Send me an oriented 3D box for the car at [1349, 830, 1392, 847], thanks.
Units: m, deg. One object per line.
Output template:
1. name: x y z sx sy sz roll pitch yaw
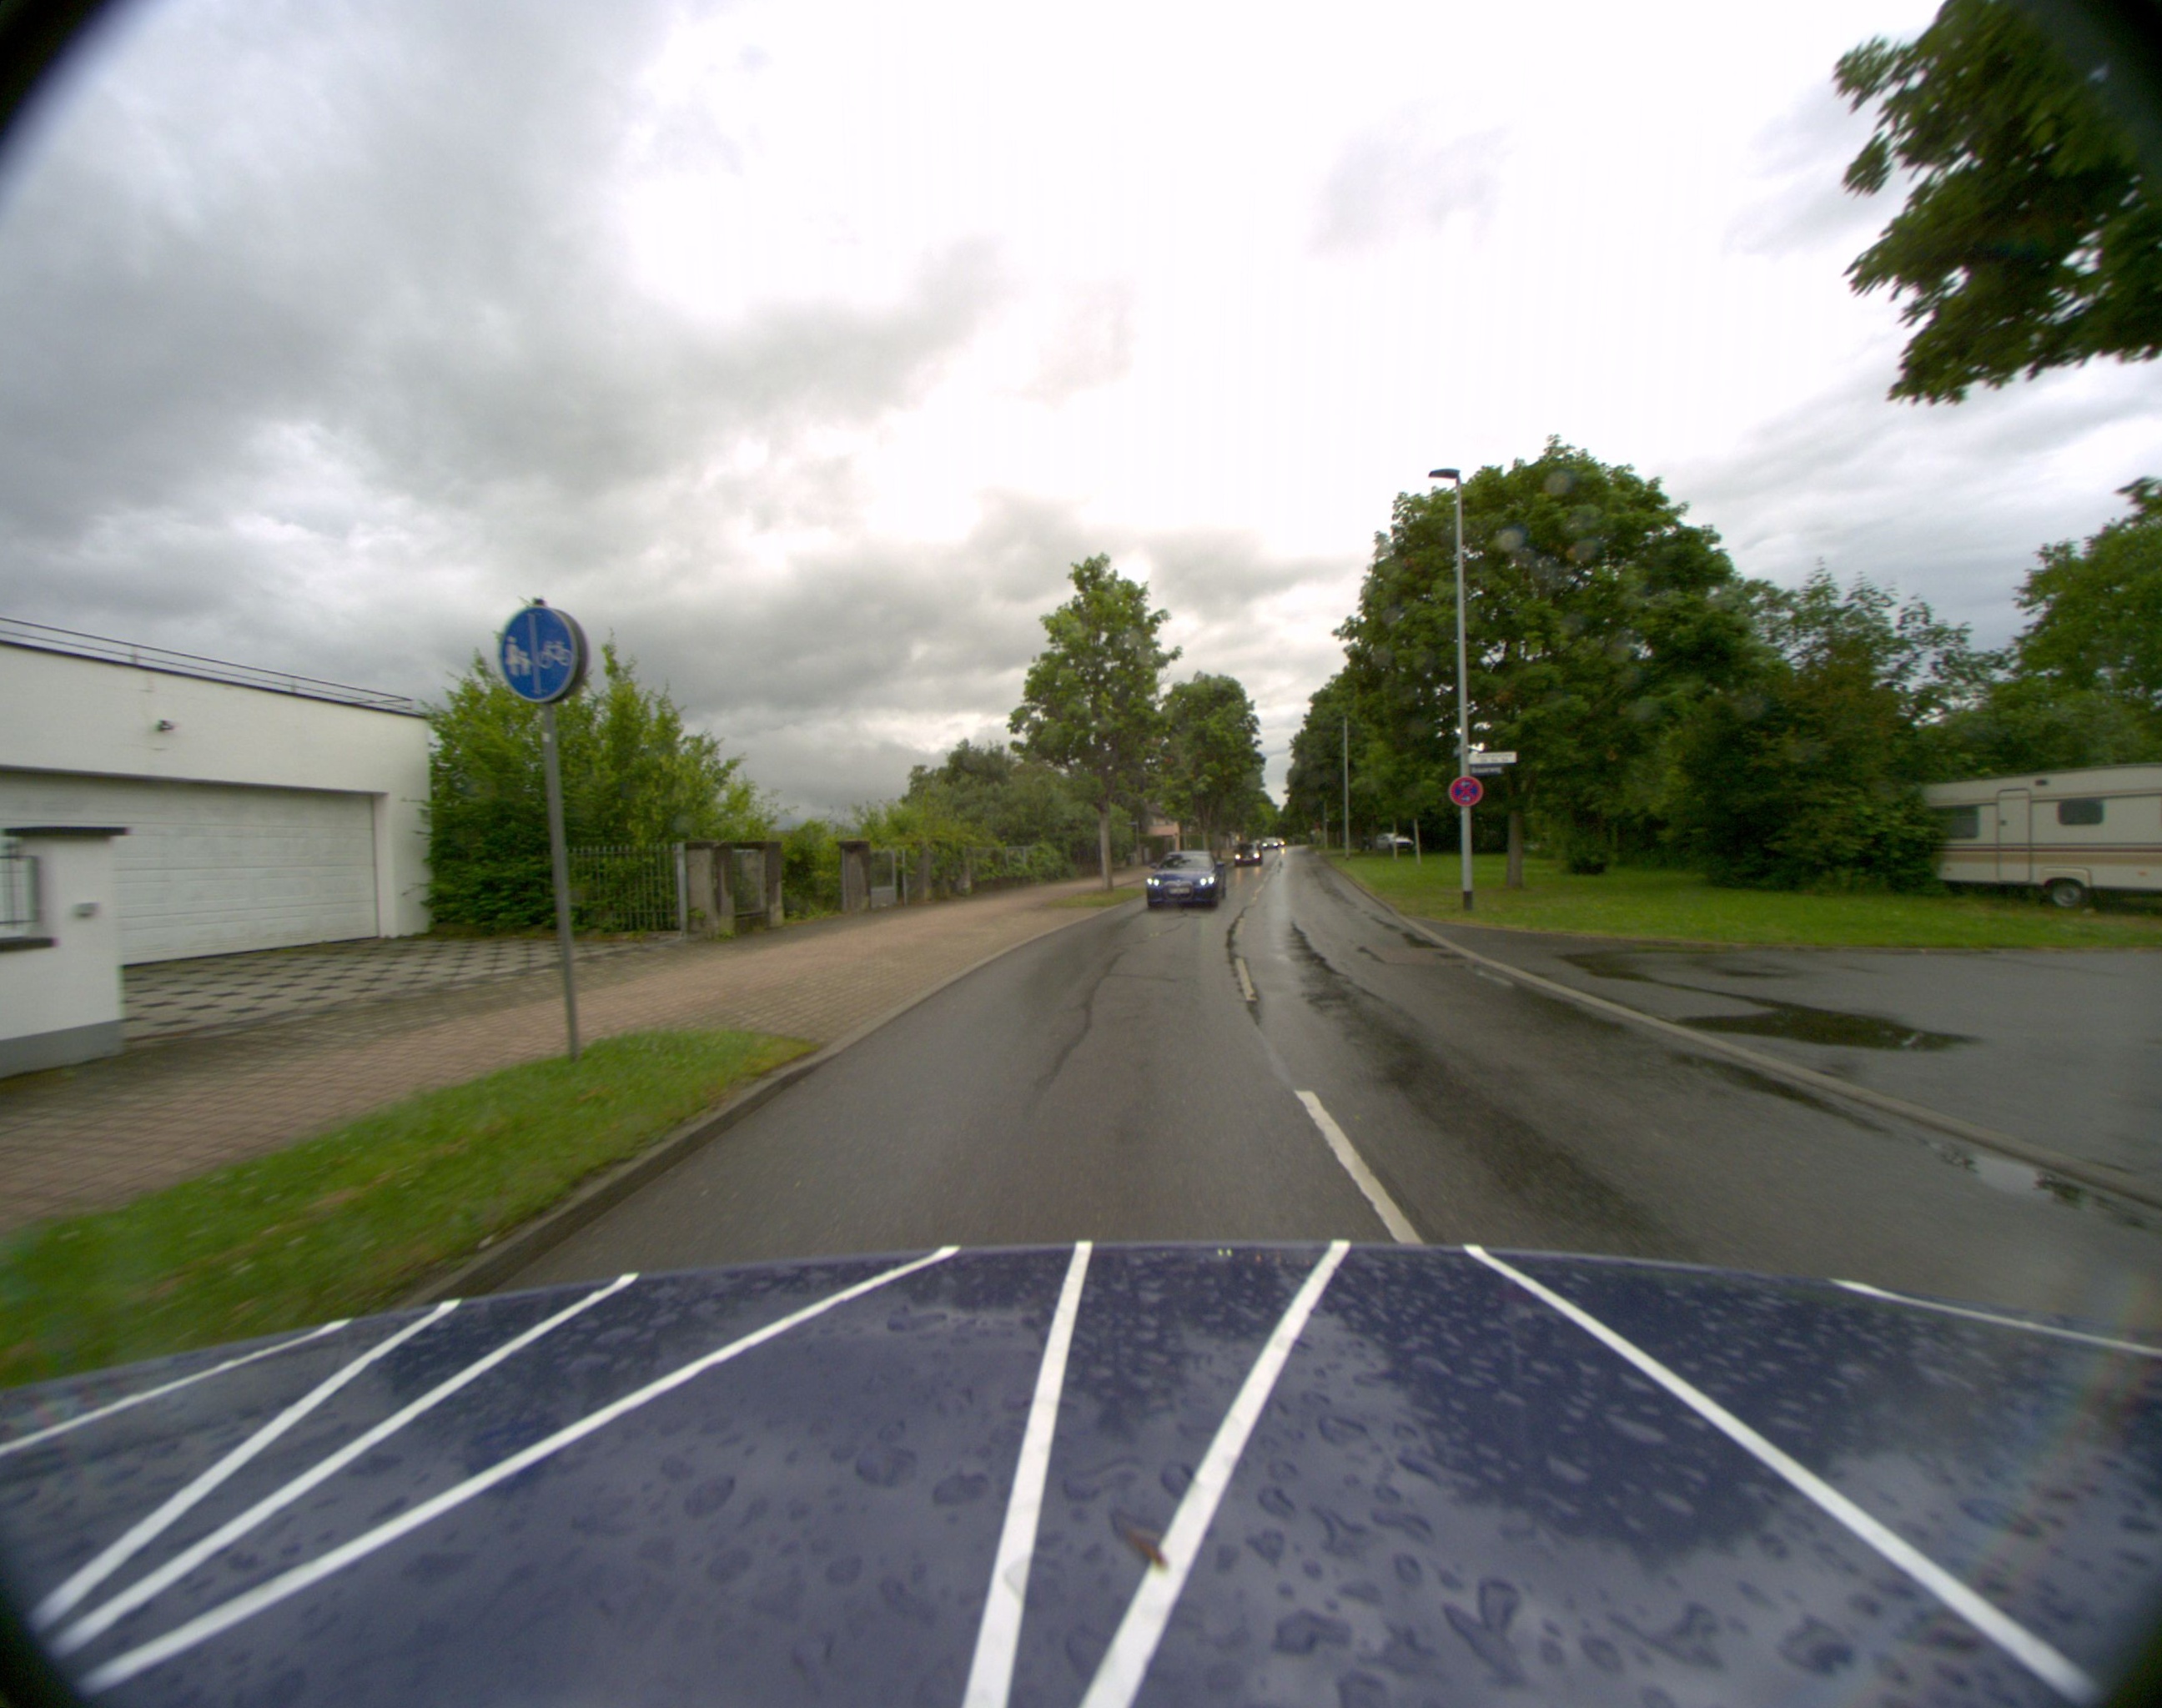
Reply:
1. car: 27.536 -1.509 72.397 1.895 1.505 4.245 -1 1 -9

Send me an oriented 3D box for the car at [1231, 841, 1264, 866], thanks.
1. car: 10.842 -0.055 49.410 1.927 1.374 4.311 -4 1 13

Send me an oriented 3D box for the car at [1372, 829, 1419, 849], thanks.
1. car: 25.308 -1.185 61.338 1.886 1.421 4.217 -2 -1 -2

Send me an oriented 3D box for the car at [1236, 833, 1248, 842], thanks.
1. car: 30.079 -3.094 141.796 1.664 1.414 4.004 -4 0 16

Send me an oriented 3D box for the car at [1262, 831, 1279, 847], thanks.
1. car: 24.613 -1.980 98.511 1.996 1.848 4.003 -4 1 15

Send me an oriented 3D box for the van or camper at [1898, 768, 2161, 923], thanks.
1. van or camper: 17.679 -0.168 12.224 2.389 2.347 6.814 -1 1 8

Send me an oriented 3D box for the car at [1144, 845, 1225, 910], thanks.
1. car: 2.967 0.571 21.096 1.813 1.460 3.977 -2 2 13
